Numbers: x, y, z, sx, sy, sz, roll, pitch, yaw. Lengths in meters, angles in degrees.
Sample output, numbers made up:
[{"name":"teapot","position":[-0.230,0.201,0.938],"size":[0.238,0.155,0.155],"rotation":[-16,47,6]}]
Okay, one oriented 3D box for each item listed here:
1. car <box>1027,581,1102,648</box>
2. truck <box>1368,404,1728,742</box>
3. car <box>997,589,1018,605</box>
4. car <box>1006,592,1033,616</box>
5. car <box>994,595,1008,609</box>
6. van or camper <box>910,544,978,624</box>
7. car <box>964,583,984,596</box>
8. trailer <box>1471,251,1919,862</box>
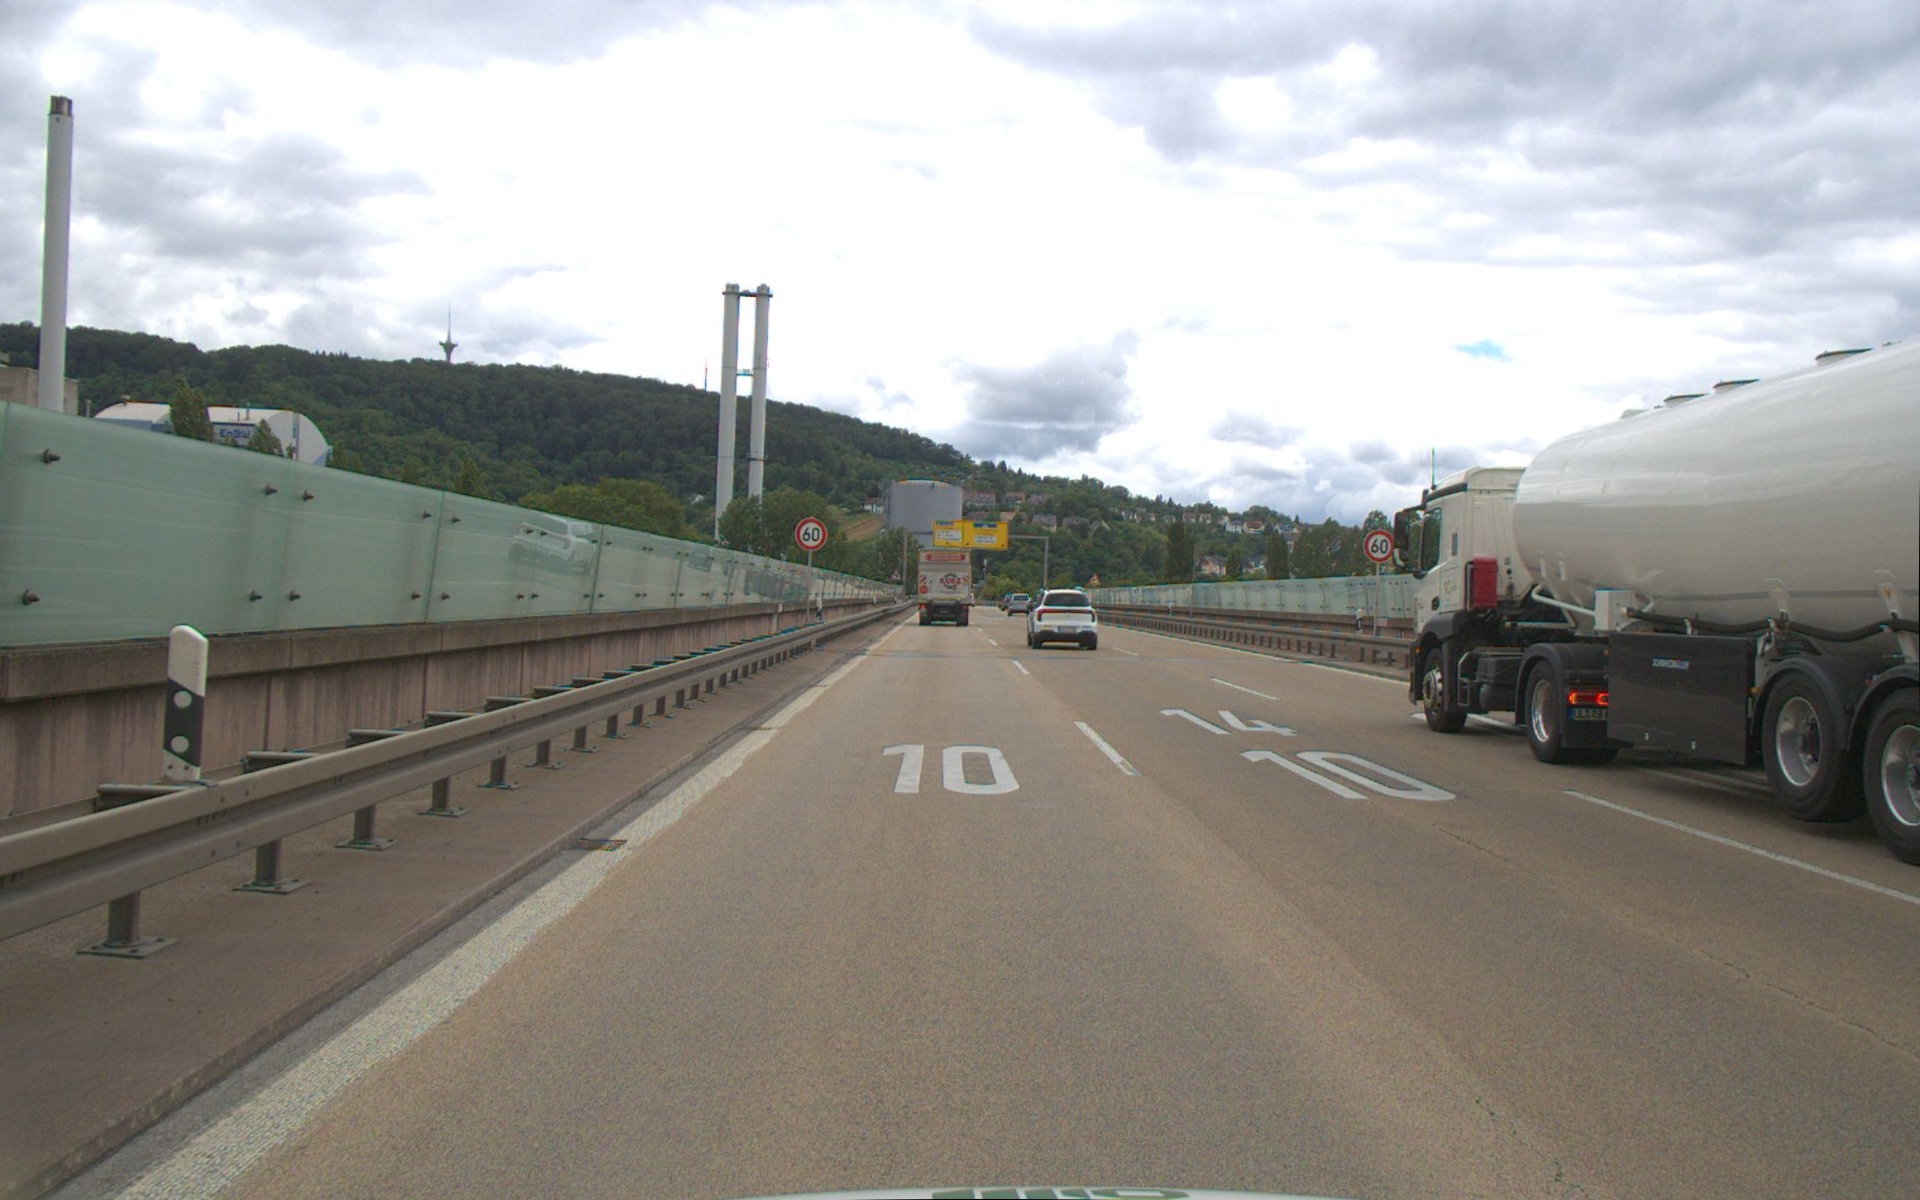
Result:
[{"name":"car","position":[2.989,0.382,48.140],"size":[1.884,1.816,4.113],"rotation":[1,0,0]},{"name":"truck","position":[6.917,-0.298,20.190],"size":[2.577,3.575,4.903],"rotation":[1,0,0]},{"name":"car","position":[4.451,-0.317,154.663],"size":[1.884,1.459,4.114],"rotation":[1,0,3]},{"name":"car","position":[4.564,0.297,127.113],"size":[1.884,1.816,4.113],"rotation":[1,0,0]},{"name":"car","position":[5.902,0.289,239.564],"size":[1.884,1.816,4.113],"rotation":[1,0,0]},{"name":"van or camper","position":[-0.704,-0.737,81.035],"size":[3.058,3.641,8.550],"rotation":[1,0,0]},{"name":"car","position":[2.153,-1.597,256.339],"size":[2.420,2.014,5.164],"rotation":[1,0,8]},{"name":"trailer","position":[6.948,-0.239,12.524],"size":[2.596,3.605,11.219],"rotation":[1,0,0]}]
